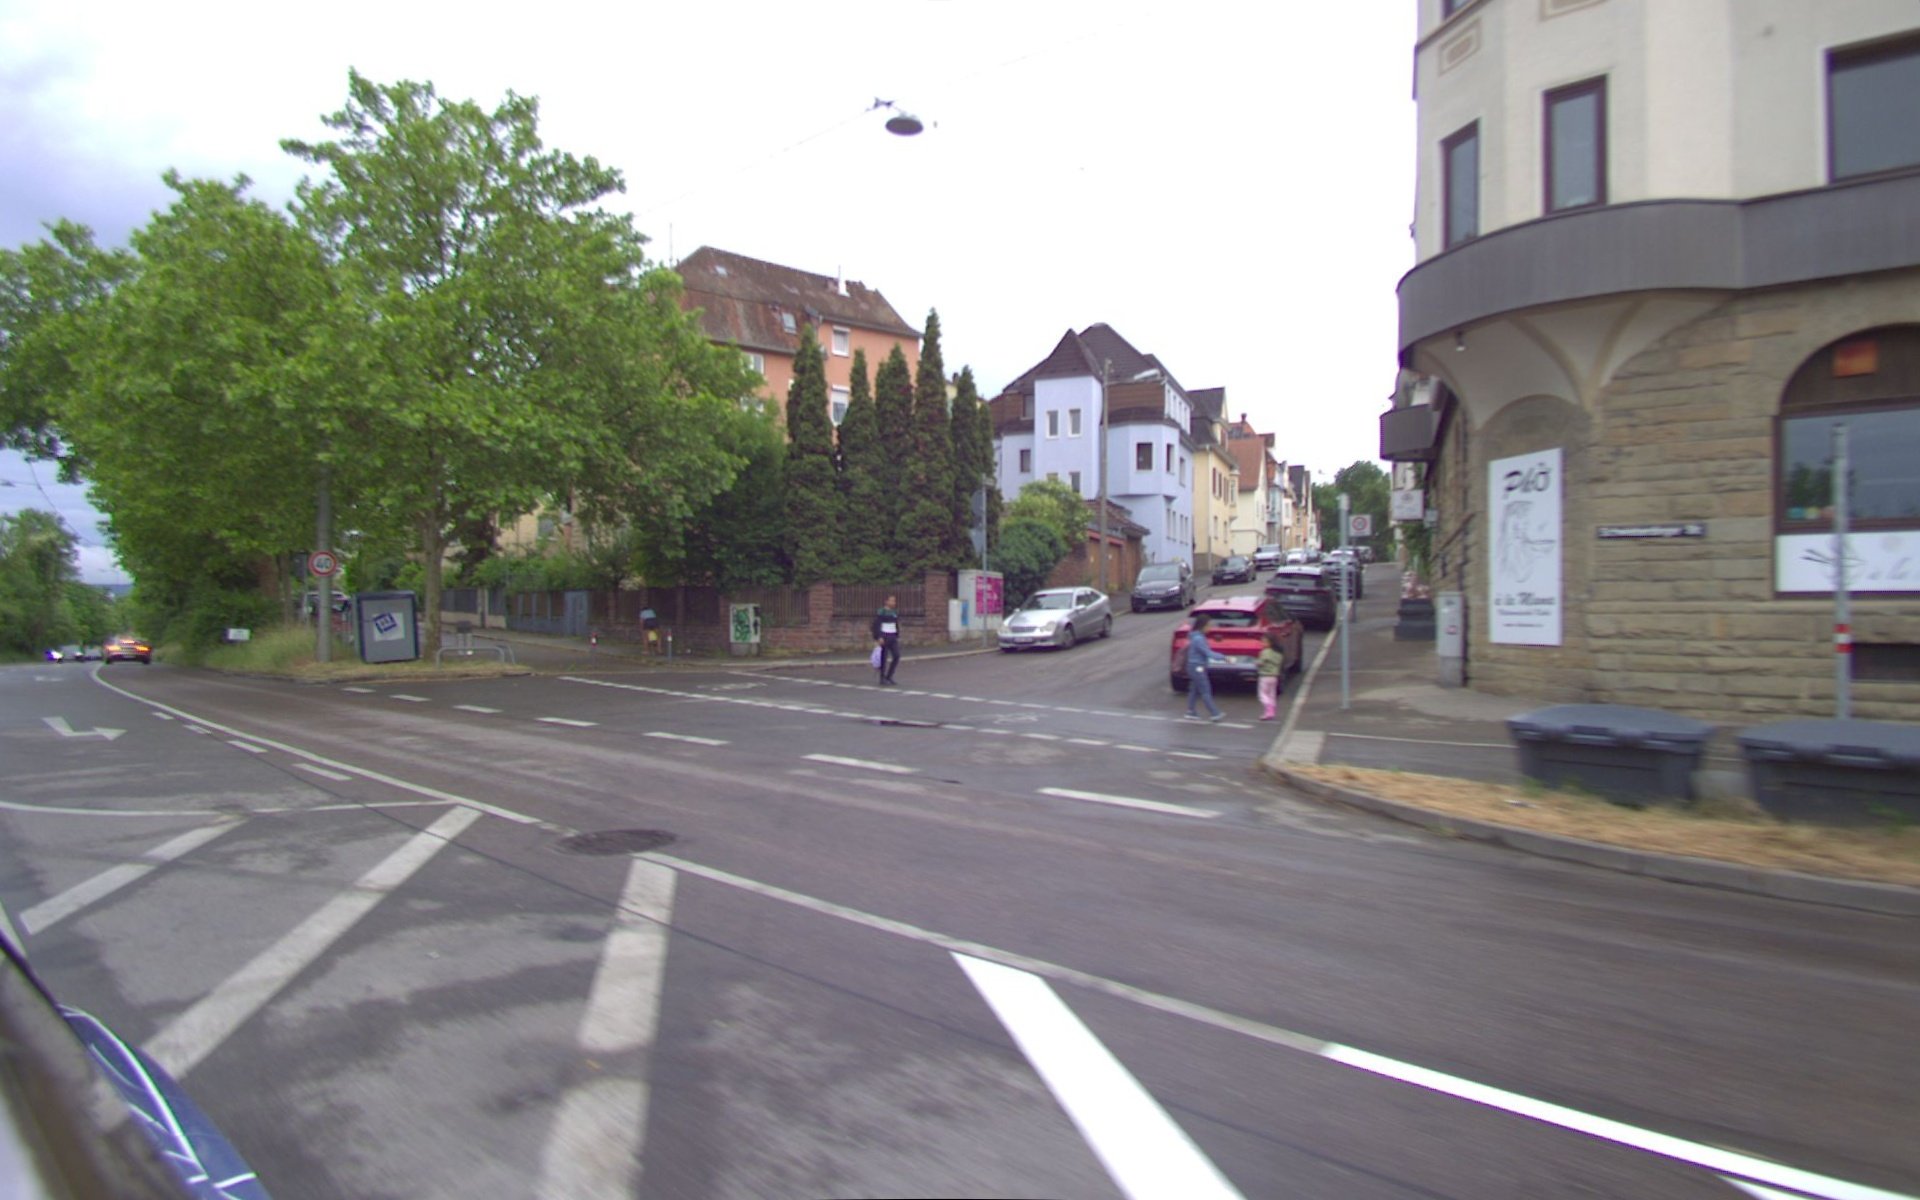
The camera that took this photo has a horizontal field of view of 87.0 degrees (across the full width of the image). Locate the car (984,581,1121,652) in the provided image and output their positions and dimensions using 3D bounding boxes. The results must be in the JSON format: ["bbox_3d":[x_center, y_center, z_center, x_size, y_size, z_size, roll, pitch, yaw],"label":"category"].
[{"bbox_3d":[2.383,0.350,24.901,1.878,1.395,4.229,-3,2,27],"label":"car"}]

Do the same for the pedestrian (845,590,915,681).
[{"bbox_3d":[-1.506,0.668,19.115,0.988,1.642,0.884,-3,-1,21],"label":"pedestrian"}]

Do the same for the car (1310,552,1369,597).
[{"bbox_3d":[15.085,-1.043,40.076,1.876,1.395,4.234,-3,4,24],"label":"car"}]

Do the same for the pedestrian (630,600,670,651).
[{"bbox_3d":[-8.496,0.703,27.743,0.780,1.365,0.792,-1,-2,-37],"label":"pedestrian"}]

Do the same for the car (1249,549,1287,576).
[{"bbox_3d":[20.584,-2.533,67.515,1.876,1.395,4.234,-3,4,24],"label":"car"}]

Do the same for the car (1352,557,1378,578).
[{"bbox_3d":[34.183,-2.773,85.342,1.876,1.395,4.234,-3,4,24],"label":"car"}]

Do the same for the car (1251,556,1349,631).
[{"bbox_3d":[9.467,-0.242,27.955,2.065,1.585,4.510,-3,4,24],"label":"car"}]

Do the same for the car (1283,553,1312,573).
[{"bbox_3d":[29.285,-3.218,87.741,1.876,1.395,4.234,-3,4,24],"label":"car"}]

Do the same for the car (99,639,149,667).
[{"bbox_3d":[-46.831,2.969,56.637,2.045,1.363,4.720,-1,-2,-41],"label":"car"}]

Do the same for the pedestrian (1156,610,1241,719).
[{"bbox_3d":[3.252,0.869,13.806,0.807,1.412,0.772,-4,-2,41],"label":"pedestrian"}]

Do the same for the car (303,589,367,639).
[{"bbox_3d":[-25.735,0.611,41.598,1.806,1.857,4.637,-2,-1,-37],"label":"car"}]

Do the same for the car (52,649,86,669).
[{"bbox_3d":[-70.935,4.708,80.539,1.969,1.453,4.005,-1,-2,-42],"label":"car"}]

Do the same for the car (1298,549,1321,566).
[{"bbox_3d":[36.471,-4.429,105.586,1.876,1.395,4.234,-3,4,24],"label":"car"}]

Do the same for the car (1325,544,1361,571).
[{"bbox_3d":[24.564,-2.760,64.807,1.876,1.395,4.234,-3,4,24],"label":"car"}]

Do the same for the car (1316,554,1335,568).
[{"bbox_3d":[45.475,-4.872,125.759,1.876,1.395,4.234,-3,4,24],"label":"car"}]

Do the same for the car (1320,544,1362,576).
[{"bbox_3d":[20.740,-2.196,54.997,1.876,1.395,4.234,-3,4,24],"label":"car"}]

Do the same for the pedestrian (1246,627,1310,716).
[{"bbox_3d":[4.246,0.950,13.557,0.738,1.132,0.728,-3,-1,16],"label":"pedestrian"}]

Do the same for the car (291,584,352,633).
[{"bbox_3d":[-29.066,0.430,46.022,1.967,2.029,4.637,-2,-2,-37],"label":"car"}]

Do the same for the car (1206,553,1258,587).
[{"bbox_3d":[14.075,-1.581,52.180,1.876,1.395,4.234,-3,4,24],"label":"car"}]

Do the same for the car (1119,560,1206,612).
[{"bbox_3d":[7.173,-0.523,35.552,1.878,1.395,4.230,-3,4,27],"label":"car"}]

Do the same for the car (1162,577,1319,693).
[{"bbox_3d":[5.047,0.519,17.726,1.925,1.585,4.509,-3,2,24],"label":"car"}]
